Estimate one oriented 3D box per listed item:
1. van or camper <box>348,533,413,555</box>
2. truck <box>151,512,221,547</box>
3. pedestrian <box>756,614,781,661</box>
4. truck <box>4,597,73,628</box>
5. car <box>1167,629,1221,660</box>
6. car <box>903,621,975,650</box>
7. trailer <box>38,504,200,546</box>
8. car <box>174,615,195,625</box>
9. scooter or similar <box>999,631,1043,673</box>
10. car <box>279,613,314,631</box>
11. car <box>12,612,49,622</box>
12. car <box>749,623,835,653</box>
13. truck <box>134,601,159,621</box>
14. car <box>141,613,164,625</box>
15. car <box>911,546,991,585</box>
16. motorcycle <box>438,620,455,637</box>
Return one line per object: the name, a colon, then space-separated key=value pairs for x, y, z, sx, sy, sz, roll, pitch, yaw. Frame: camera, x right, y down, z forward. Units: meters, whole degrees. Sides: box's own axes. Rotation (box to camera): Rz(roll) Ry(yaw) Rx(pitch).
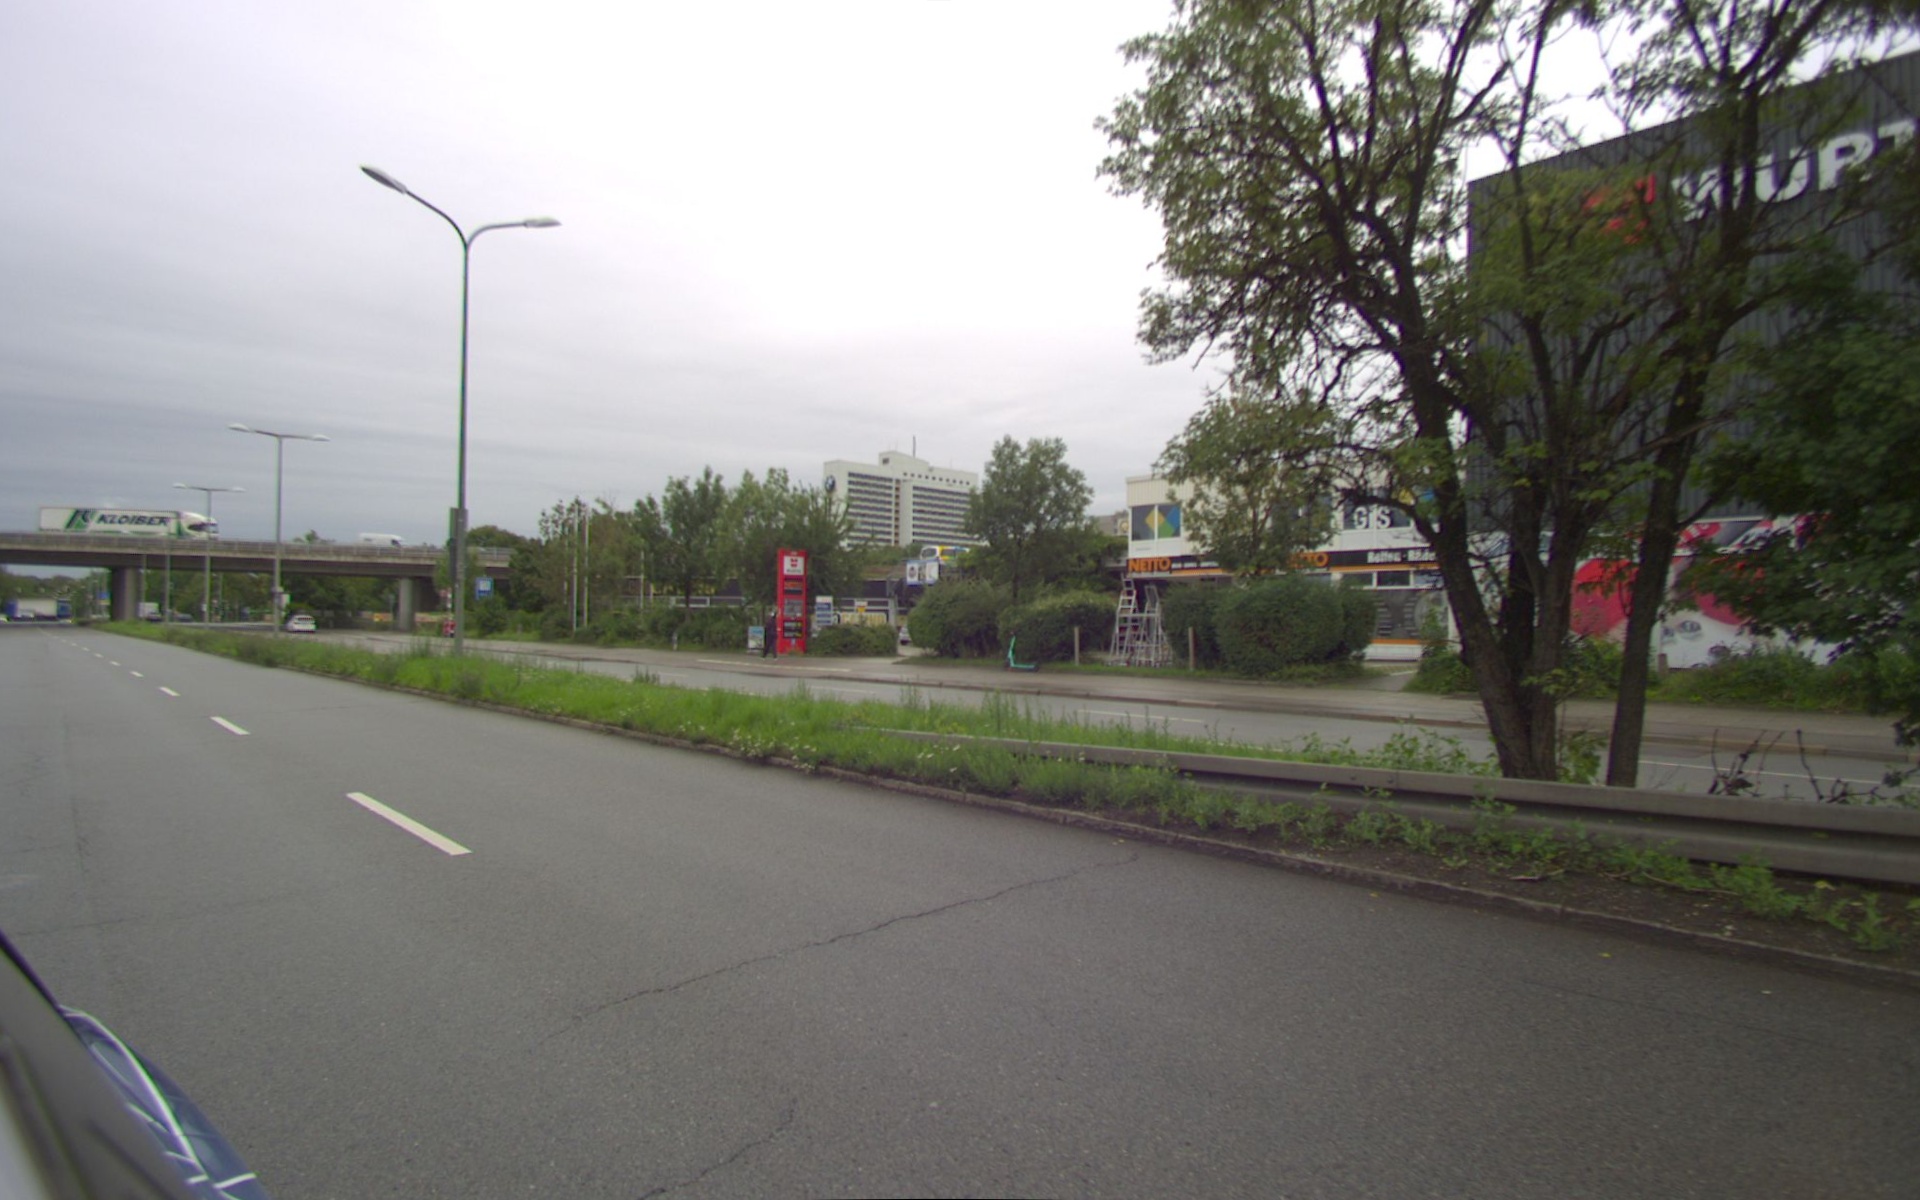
van or camper: x=-61.017 y=-5.880 z=106.696 sx=5.425 sy=2.029 sz=2.333 roll=2 pitch=-1 yaw=-4
truck: x=-80.394 y=-7.289 z=105.230 sx=5.116 sy=3.270 sz=2.600 roll=3 pitch=-1 yaw=-4
pedestrian: x=-7.564 y=1.465 z=39.881 sx=0.615 sy=1.844 sz=0.818 roll=2 pitch=-3 yaw=-42
truck: x=-156.008 y=2.063 z=171.377 sx=9.485 sy=4.626 sz=2.794 roll=3 pitch=-3 yaw=6
car: x=14.560 y=2.749 z=62.854 sx=1.723 sy=1.718 sz=3.622 roll=3 pitch=-1 yaw=40
car: x=-1.197 y=2.022 z=58.457 sx=3.940 sy=1.577 sz=1.910 roll=1 pitch=0 yaw=-44
trailer: x=-86.937 y=-7.764 z=104.820 sx=13.849 sy=3.323 sz=2.669 roll=3 pitch=-1 yaw=-4
car: x=-124.450 y=3.188 z=162.452 sx=4.819 sy=1.407 sz=1.946 roll=1 pitch=-2 yaw=45
scooter or similar: x=1.841 y=1.551 z=30.525 sx=0.440 sy=1.237 sz=1.388 roll=2 pitch=-2 yaw=-44
car: x=-60.500 y=2.009 z=92.251 sx=1.969 sy=1.584 sz=4.579 roll=3 pitch=-2 yaw=-42
car: x=-152.750 y=2.746 z=166.306 sx=4.535 sy=1.595 sz=1.971 roll=0 pitch=-4 yaw=7
car: x=-8.394 y=1.879 z=50.821 sx=1.870 sy=1.431 sz=3.943 roll=-1 pitch=-2 yaw=43
truck: x=-124.873 y=1.680 z=155.297 sx=2.226 sy=3.000 sz=7.239 roll=6 pitch=-4 yaw=-44
car: x=-114.532 y=2.674 z=143.486 sx=1.946 sy=1.595 sz=4.594 roll=6 pitch=-4 yaw=-45
car: x=-0.525 y=-2.185 z=64.116 sx=4.724 sy=2.029 sz=2.138 roll=5 pitch=-1 yaw=-42
motorcycle: x=-37.691 y=2.104 z=74.284 sx=0.527 sy=1.185 sz=2.198 roll=2 pitch=-2 yaw=-43
